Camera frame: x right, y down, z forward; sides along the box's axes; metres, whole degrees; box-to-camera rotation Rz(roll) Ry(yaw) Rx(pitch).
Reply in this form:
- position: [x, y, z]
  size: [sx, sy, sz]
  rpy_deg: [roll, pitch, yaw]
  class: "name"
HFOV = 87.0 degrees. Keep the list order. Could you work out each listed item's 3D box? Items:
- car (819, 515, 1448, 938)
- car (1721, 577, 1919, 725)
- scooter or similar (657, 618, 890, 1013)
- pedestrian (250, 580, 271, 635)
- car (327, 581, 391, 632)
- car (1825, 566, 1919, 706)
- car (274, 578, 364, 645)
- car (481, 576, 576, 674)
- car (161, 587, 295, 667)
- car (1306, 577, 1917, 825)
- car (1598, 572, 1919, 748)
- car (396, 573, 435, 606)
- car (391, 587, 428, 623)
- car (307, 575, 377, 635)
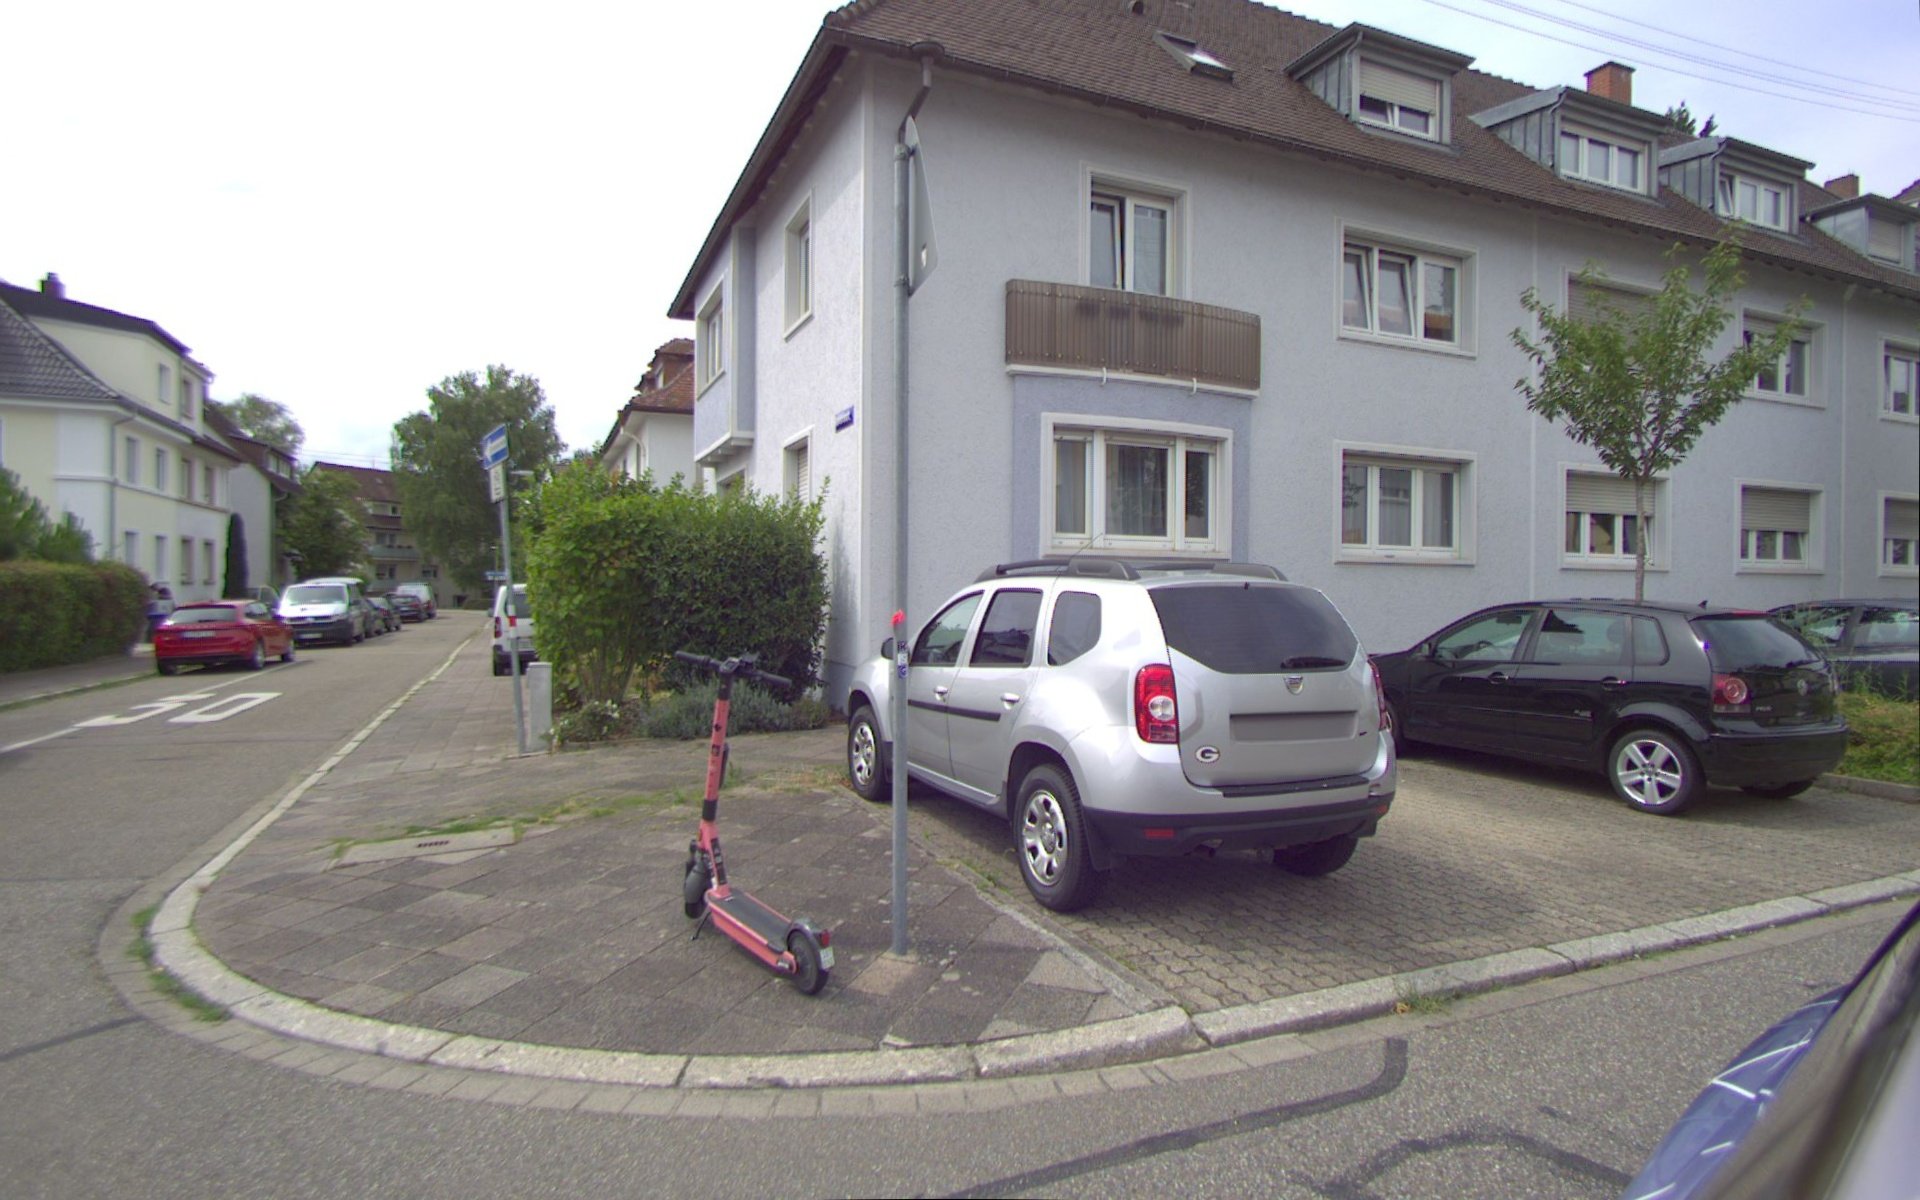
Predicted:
- position: [0.608, 0.444, 6.121]
  size: [1.829, 1.653, 3.944]
  rpy_deg: [1, 1, -24]
  class: "car"
- position: [11.048, 0.576, 11.079]
  size: [1.677, 1.526, 4.009]
  rpy_deg: [0, 3, -23]
  class: "car"
- position: [-0.791, 0.742, 4.043]
  size: [0.414, 1.259, 1.243]
  rpy_deg: [0, 2, -36]
  class: "scooter or similar"
- position: [-22.677, 0.239, 32.803]
  size: [0.549, 1.740, 0.615]
  rpy_deg: [0, 0, -35]
  class: "pedestrian"
- position: [-22.981, 0.211, 38.828]
  size: [1.720, 1.848, 4.303]
  rpy_deg: [0, 1, -25]
  class: "car"
- position: [13.067, 0.509, 11.429]
  size: [1.853, 1.684, 4.641]
  rpy_deg: [0, 3, -22]
  class: "car"
- position: [-19.099, 0.293, 30.315]
  size: [1.769, 1.817, 3.821]
  rpy_deg: [-2, 2, -25]
  class: "car"
- position: [-9.159, 0.439, 21.329]
  size: [1.670, 1.828, 3.821]
  rpy_deg: [-1, 1, -25]
  class: "car"
- position: [-15.464, 0.494, 21.576]
  size: [1.629, 1.537, 3.821]
  rpy_deg: [0, 1, -25]
  class: "car"
- position: [4.987, 0.590, 8.464]
  size: [1.677, 1.439, 4.009]
  rpy_deg: [0, 3, -23]
  class: "car"
- position: [9.056, 0.529, 10.333]
  size: [1.677, 1.526, 4.009]
  rpy_deg: [0, 3, -23]
  class: "car"
- position: [-31.546, -0.606, 58.676]
  size: [1.872, 1.754, 3.776]
  rpy_deg: [0, 3, -26]
  class: "car"
- position: [-29.081, 0.222, 53.536]
  size: [1.513, 1.682, 3.647]
  rpy_deg: [0, 2, -25]
  class: "car"
- position: [-20.995, 0.127, 34.497]
  size: [1.629, 1.928, 3.821]
  rpy_deg: [0, 1, -25]
  class: "car"
